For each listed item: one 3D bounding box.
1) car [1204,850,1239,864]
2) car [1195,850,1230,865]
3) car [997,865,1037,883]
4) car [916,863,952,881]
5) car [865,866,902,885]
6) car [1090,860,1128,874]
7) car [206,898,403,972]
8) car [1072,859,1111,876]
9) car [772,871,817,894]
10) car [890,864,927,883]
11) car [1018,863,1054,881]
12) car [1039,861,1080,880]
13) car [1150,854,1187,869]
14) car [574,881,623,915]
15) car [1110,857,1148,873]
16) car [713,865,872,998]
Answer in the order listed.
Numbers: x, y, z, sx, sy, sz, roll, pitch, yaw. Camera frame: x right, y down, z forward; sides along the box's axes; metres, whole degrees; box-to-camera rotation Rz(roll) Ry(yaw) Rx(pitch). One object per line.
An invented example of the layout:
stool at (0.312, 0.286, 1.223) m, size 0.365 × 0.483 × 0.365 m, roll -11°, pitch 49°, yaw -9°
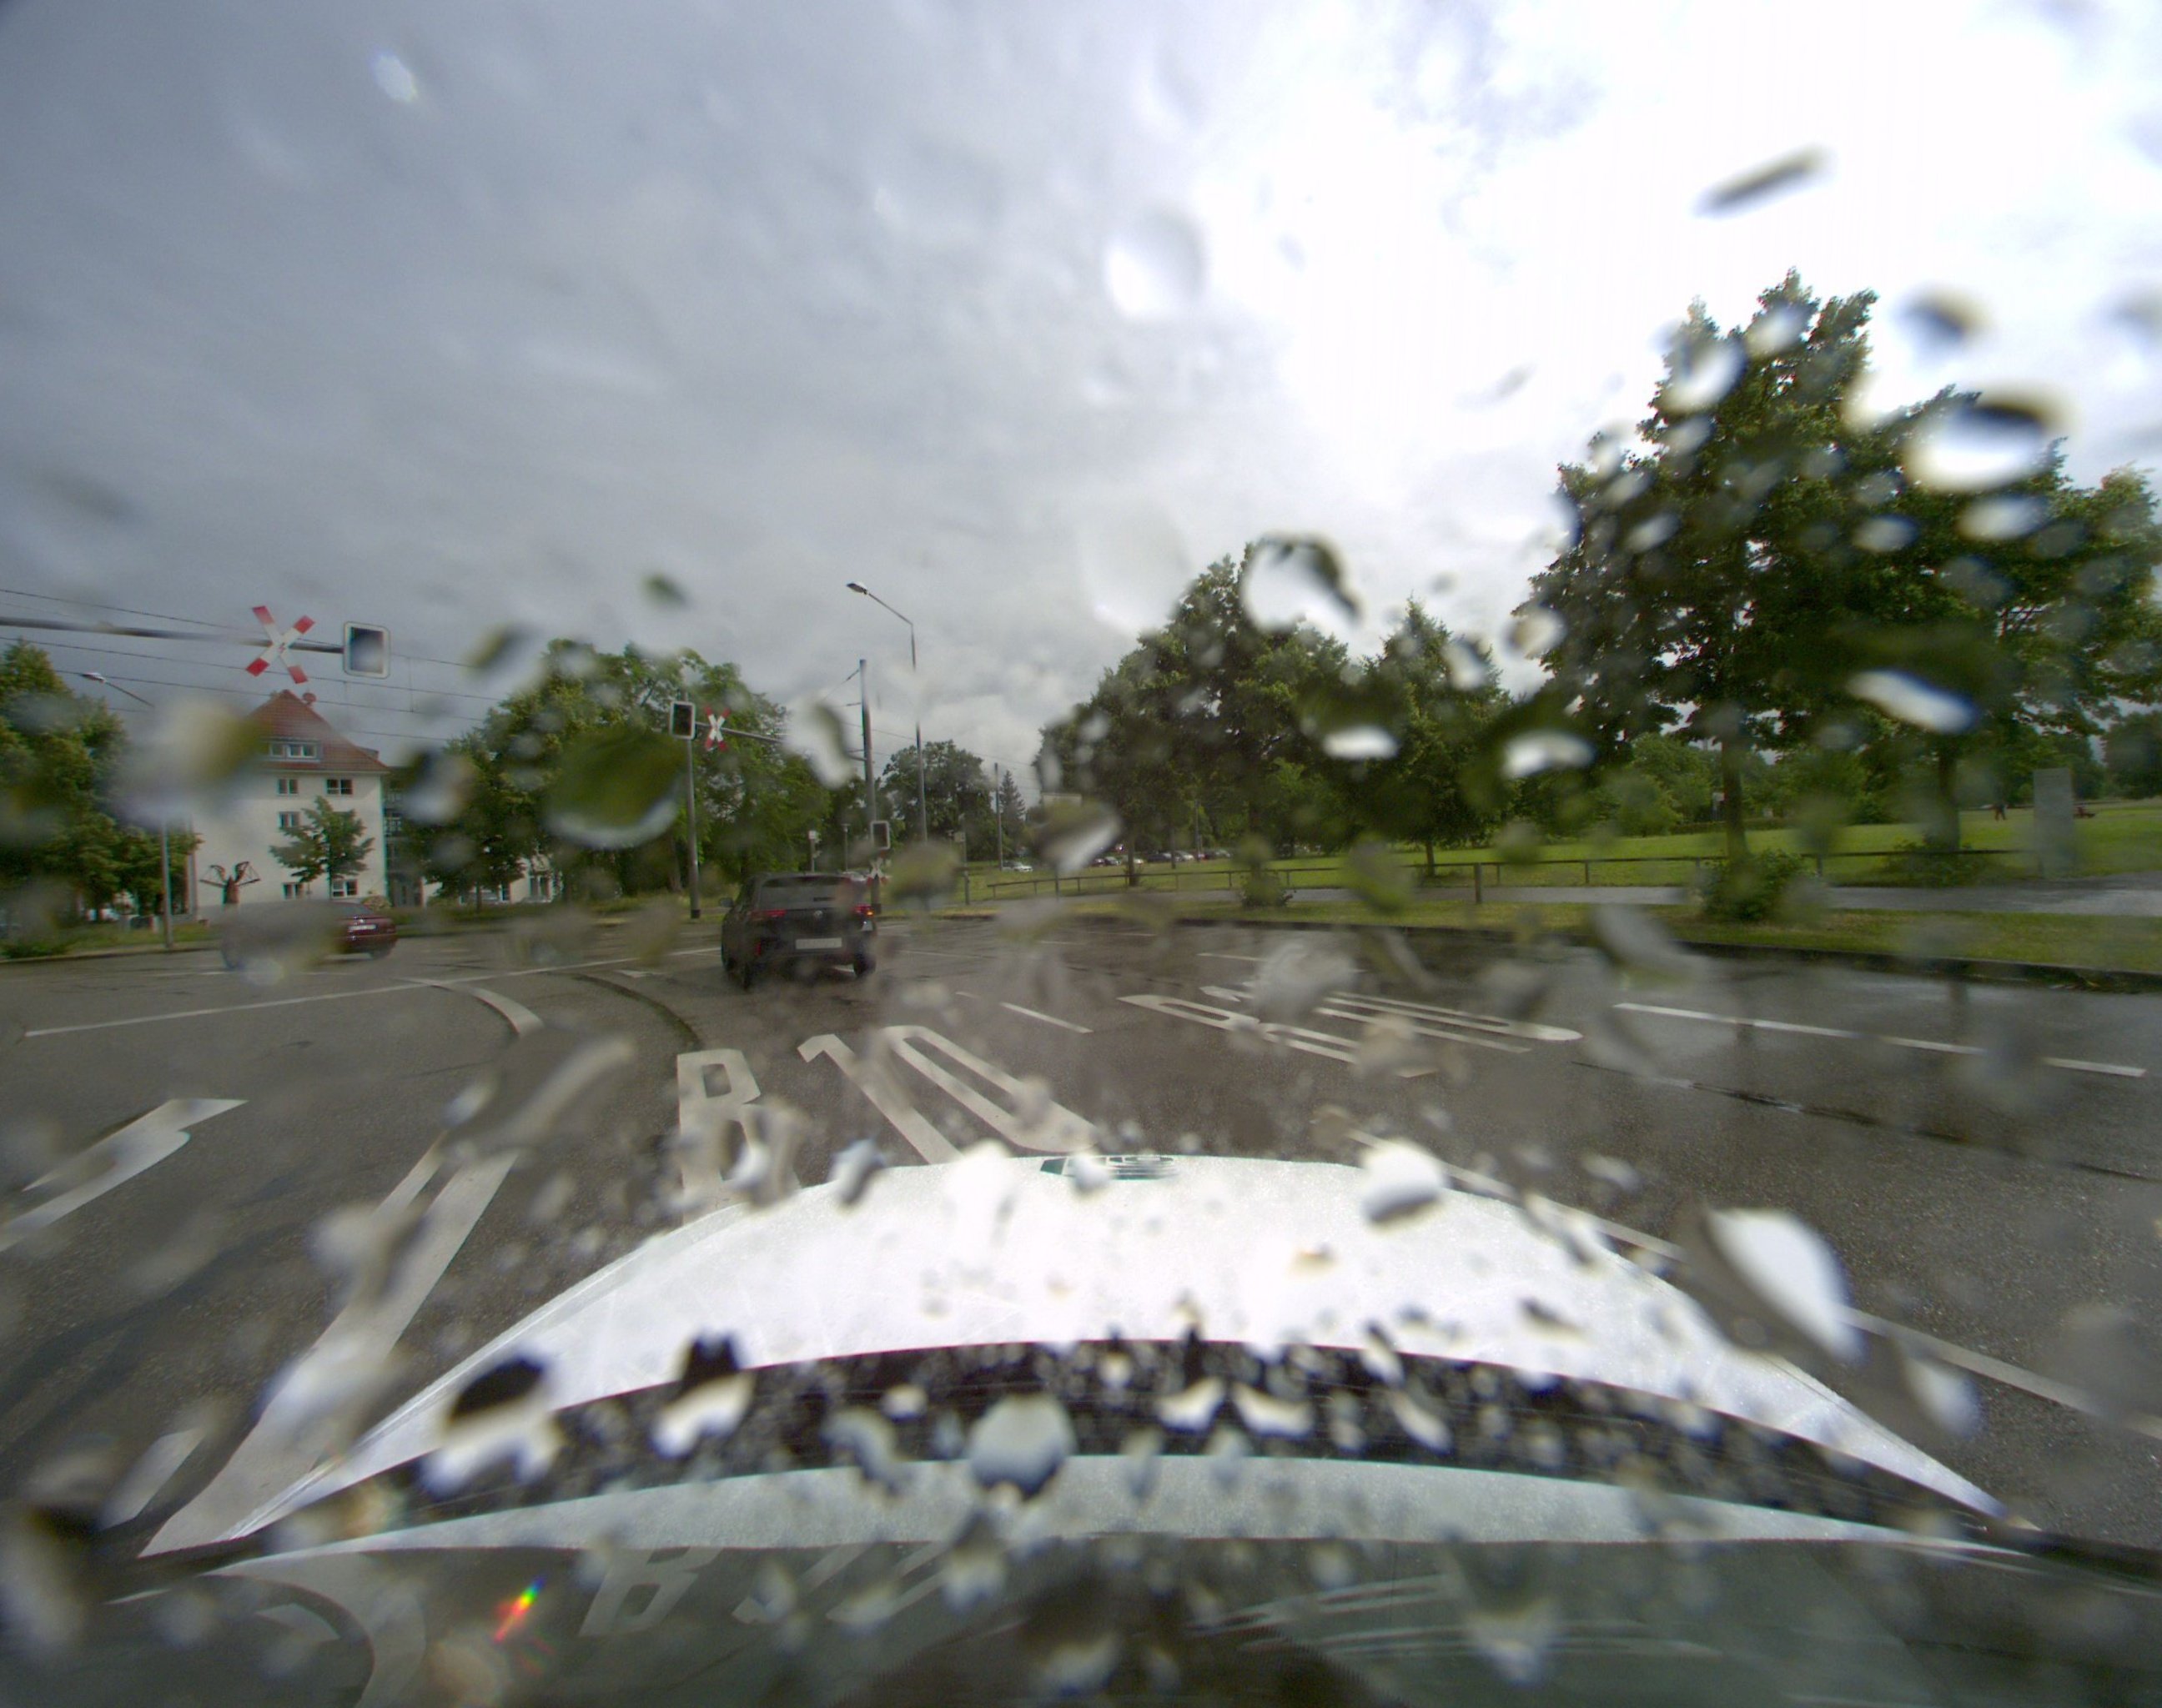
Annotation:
car at (17.453, 0.383, 101.523) m, size 1.861 × 1.559 × 3.930 m, roll -3°, pitch -1°, yaw -42°
car at (16.043, 0.486, 99.490) m, size 1.861 × 1.559 × 3.930 m, roll -3°, pitch -1°, yaw -42°
car at (-6.298, 1.948, 79.735) m, size 1.809 × 1.527 × 3.951 m, roll -3°, pitch -1°, yaw -42°
car at (-13.193, 1.628, 72.919) m, size 1.658 × 1.510 × 3.609 m, roll -3°, pitch 0°, yaw -37°
car at (-16.869, 1.812, 69.398) m, size 1.654 × 1.462 × 3.568 m, roll -3°, pitch 0°, yaw -39°
car at (3.010, 1.395, 88.211) m, size 1.861 × 1.308 × 3.930 m, roll -3°, pitch -1°, yaw -42°
car at (-18.474, 1.930, 19.396) m, size 3.953 × 1.462 × 1.729 m, roll -3°, pitch 1°, yaw 20°
car at (1.125, 1.487, 86.209) m, size 1.861 × 1.559 × 3.930 m, roll -3°, pitch -1°, yaw -42°
car at (-22.563, 2.267, 64.092) m, size 1.861 × 1.559 × 3.930 m, roll -3°, pitch -1°, yaw -42°
car at (-15.156, 1.688, 71.298) m, size 1.654 × 1.462 × 3.568 m, roll -3°, pitch 0°, yaw -39°
car at (-4.488, 1.797, 81.277) m, size 1.559 × 1.660 × 3.585 m, roll -3°, pitch -1°, yaw -42°
car at (-2.189, 1.658, 83.097) m, size 2.011 × 1.714 × 3.952 m, roll -3°, pitch -1°, yaw -41°
car at (10.181, 0.885, 94.578) m, size 1.861 × 1.559 × 3.930 m, roll -3°, pitch -1°, yaw -42°
car at (-33.119, 2.935, 55.835) m, size 2.124 × 2.057 × 5.102 m, roll -4°, pitch 1°, yaw -38°
car at (5.327, 1.203, 89.798) m, size 1.861 × 1.559 × 3.930 m, roll -3°, pitch -1°, yaw -42°
car at (-4.399, 0.995, 12.359) m, size 1.904 × 1.618 × 3.971 m, roll -1°, pitch 0°, yaw -21°
